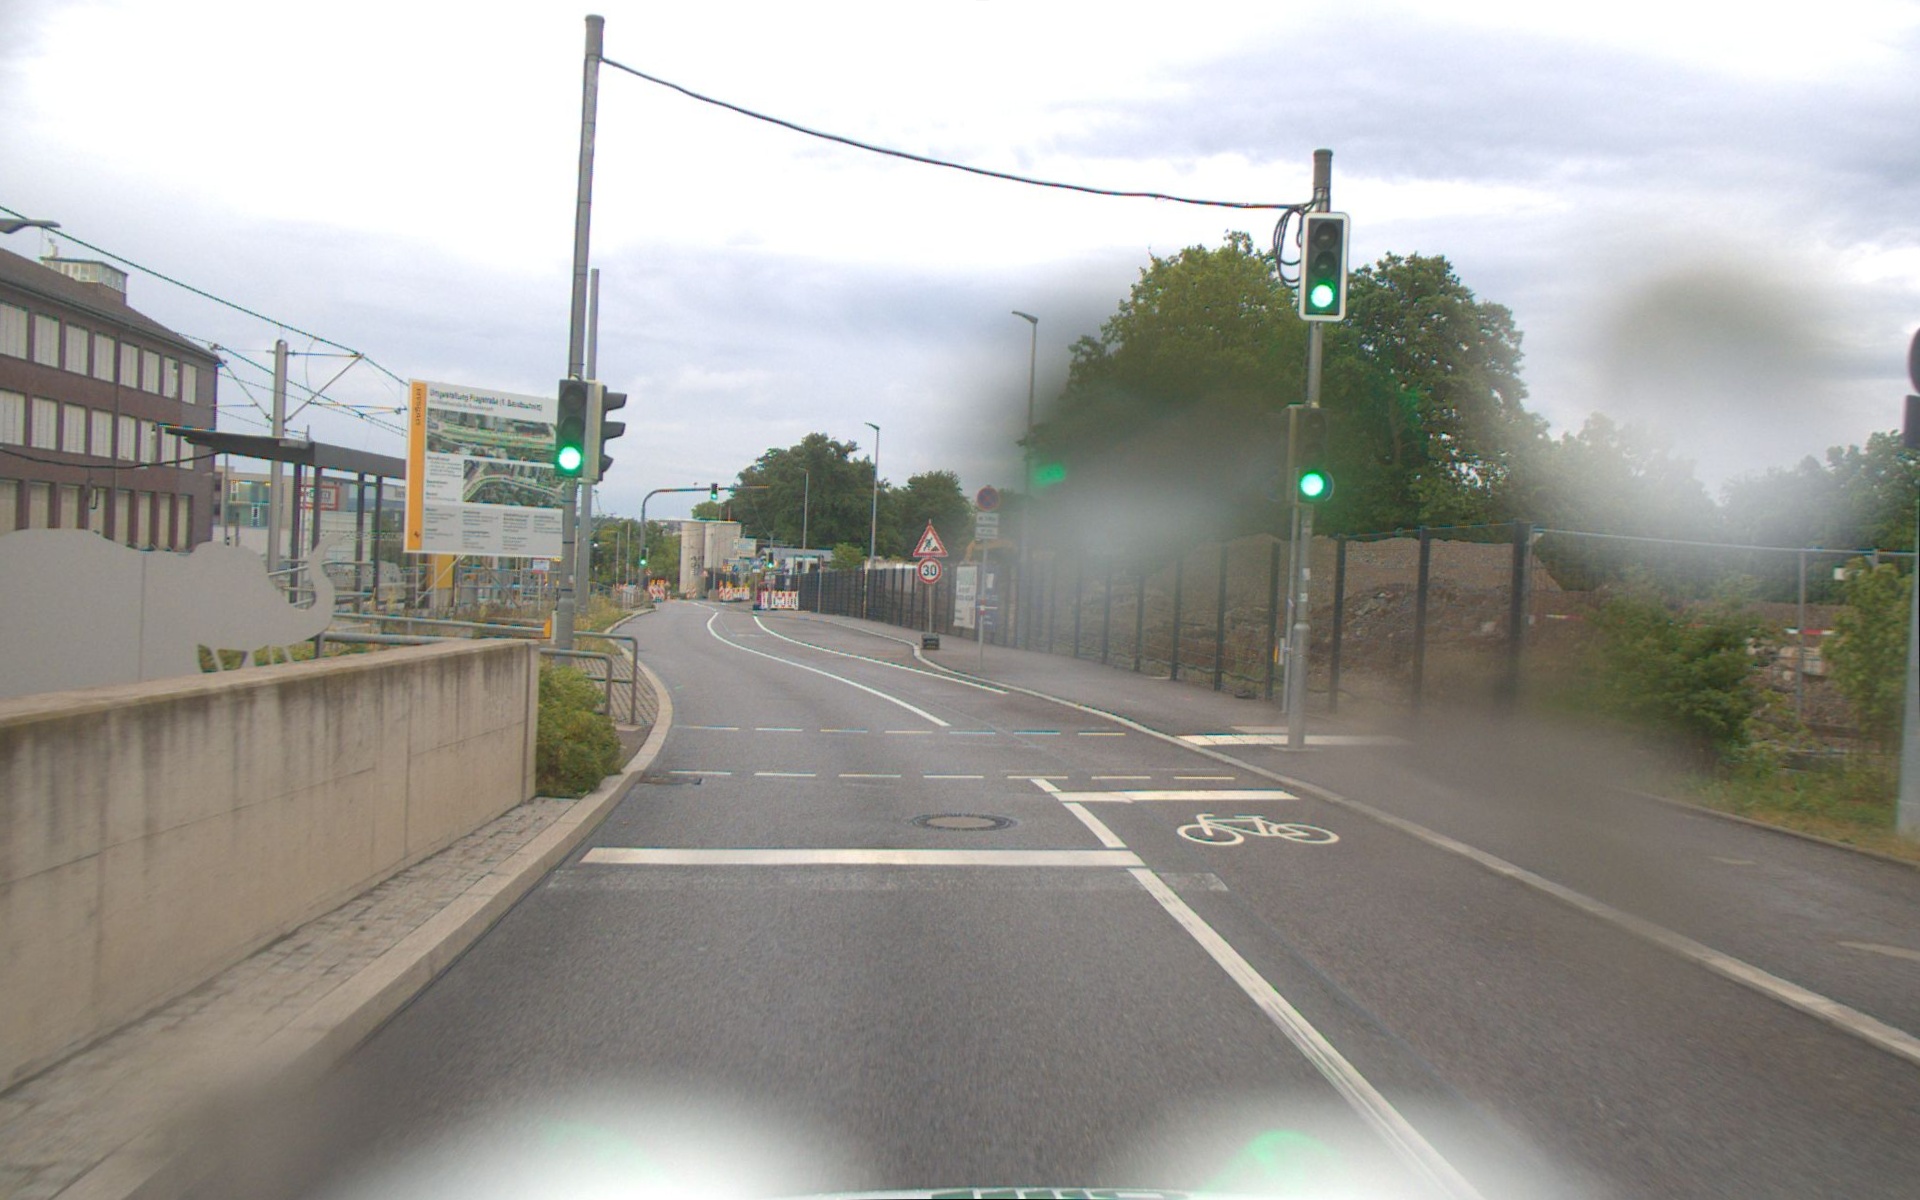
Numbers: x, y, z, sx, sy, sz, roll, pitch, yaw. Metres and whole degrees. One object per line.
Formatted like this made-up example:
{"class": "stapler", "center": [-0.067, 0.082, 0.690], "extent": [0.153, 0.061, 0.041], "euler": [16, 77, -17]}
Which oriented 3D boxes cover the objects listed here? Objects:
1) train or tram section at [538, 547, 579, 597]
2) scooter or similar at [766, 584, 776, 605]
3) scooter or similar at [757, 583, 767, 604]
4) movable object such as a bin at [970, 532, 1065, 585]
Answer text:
{"class": "train or tram section", "center": [-34.938, -2.411, 144.445], "extent": [2.904, 3.953, 19.509], "euler": [3, 0, -13]}
{"class": "scooter or similar", "center": [-12.728, -0.361, 111.327], "extent": [0.603, 1.375, 1.910], "euler": [1, 0, -5]}
{"class": "scooter or similar", "center": [-13.340, -0.429, 111.309], "extent": [0.603, 1.375, 1.910], "euler": [1, 0, -5]}
{"class": "movable object such as a bin", "center": [6.896, -4.933, 199.094], "extent": [11.009, 6.100, 3.488], "euler": [1, 0, -4]}
